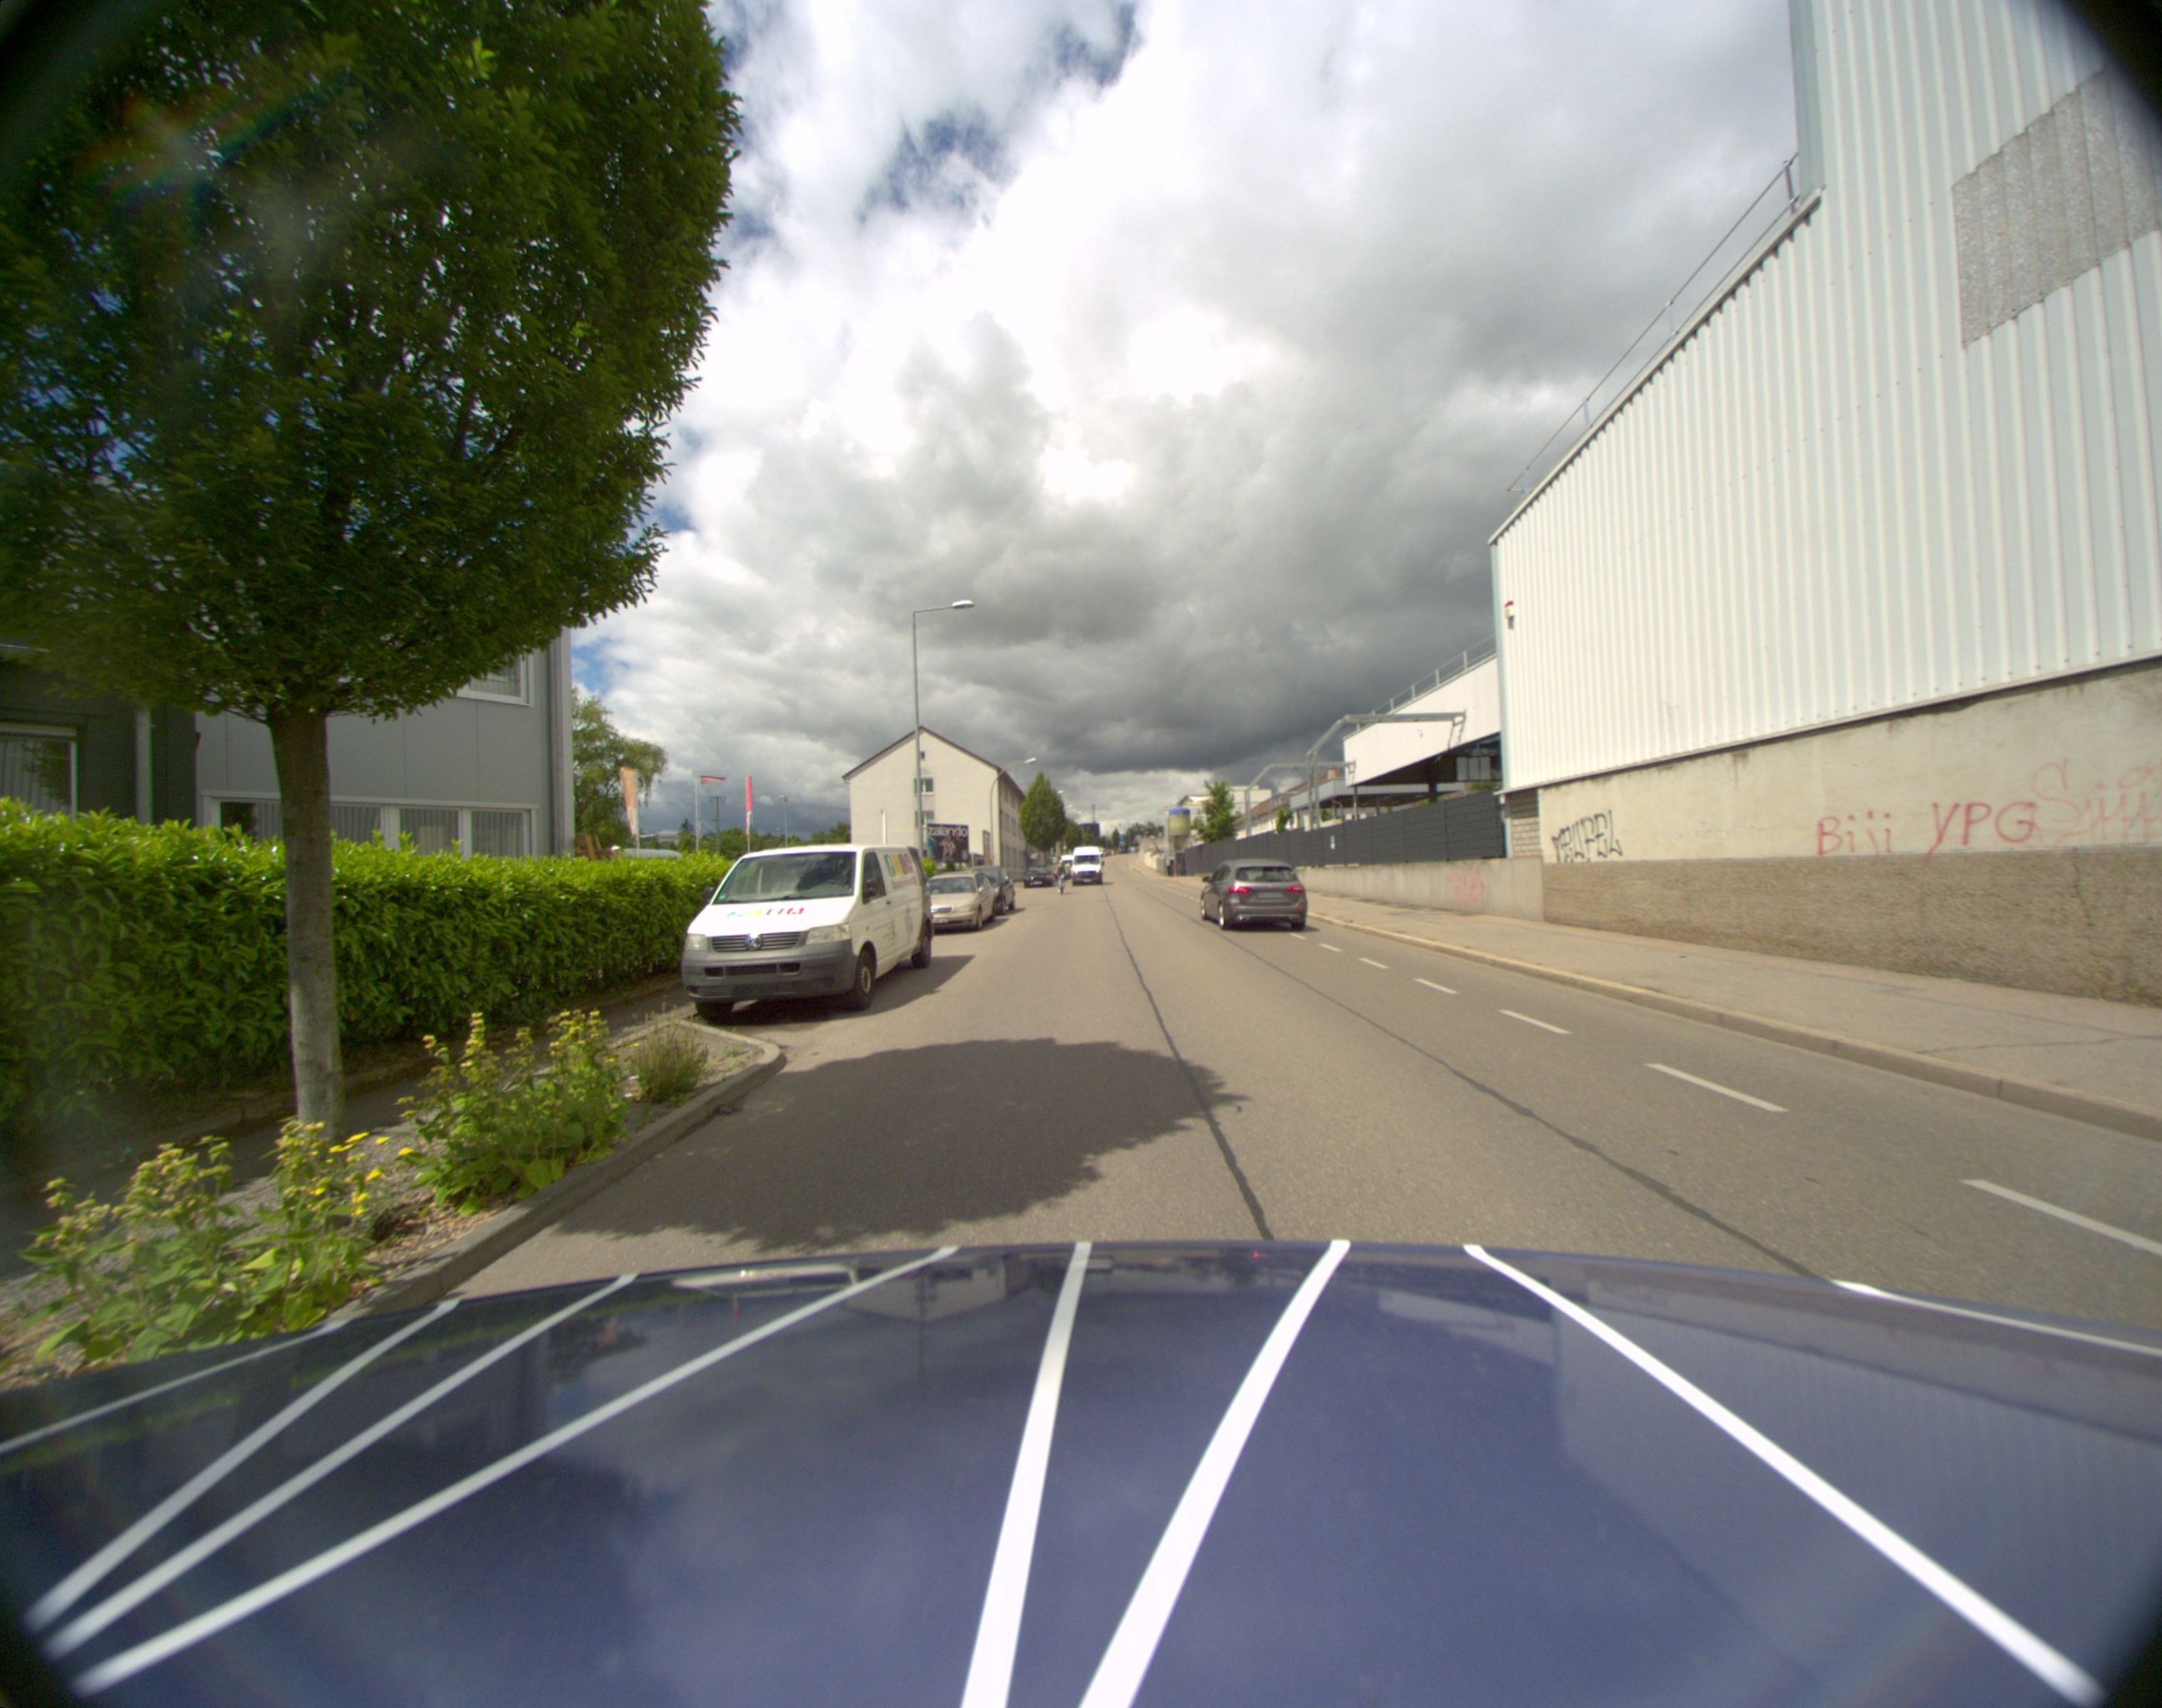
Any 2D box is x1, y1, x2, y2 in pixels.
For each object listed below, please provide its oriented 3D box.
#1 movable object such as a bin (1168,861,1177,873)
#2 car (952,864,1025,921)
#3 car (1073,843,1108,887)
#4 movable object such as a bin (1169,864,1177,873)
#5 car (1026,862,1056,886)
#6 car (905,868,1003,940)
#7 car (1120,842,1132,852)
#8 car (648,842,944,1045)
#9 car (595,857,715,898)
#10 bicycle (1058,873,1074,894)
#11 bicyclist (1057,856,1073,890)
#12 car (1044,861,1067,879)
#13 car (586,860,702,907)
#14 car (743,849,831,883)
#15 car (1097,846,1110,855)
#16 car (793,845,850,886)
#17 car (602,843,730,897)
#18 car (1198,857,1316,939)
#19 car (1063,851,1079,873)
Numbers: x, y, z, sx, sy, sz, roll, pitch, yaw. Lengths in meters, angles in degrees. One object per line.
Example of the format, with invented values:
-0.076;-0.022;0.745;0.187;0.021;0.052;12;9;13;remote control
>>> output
10.926;1.549;90.453;0.993;1.384;1.216;1;-1;3;movable object such as a bin
-3.012;1.208;25.462;1.683;1.628;4.123;-2;0;3;car
0.722;0.657;50.886;2.082;2.576;6.062;-2;2;3;car
10.847;1.712;89.479;0.874;1.044;0.741;0;0;5;movable object such as a bin
-2.668;1.303;51.635;1.796;1.457;4.708;-2;0;0;car
-3.197;1.201;19.994;1.659;1.531;4.734;-2;0;1;car
12.481;-1.840;211.605;2.057;2.579;5.740;-1;2;16;car
-3.320;0.895;10.179;1.874;1.978;5.144;-2;0;1;car
-22.141;1.168;39.666;1.829;1.970;5.109;0;0;44;car
-0.764;1.447;38.053;0.742;0.969;1.732;-2;0;-1;bicycle
-0.780;0.949;38.133;0.741;1.617;0.731;-2;2;-1;bicyclist
-2.247;1.399;67.699;1.739;1.463;4.262;-2;-1;2;car
-19.286;1.236;33.642;1.812;1.860;4.050;0;0;40;car
-23.819;0.923;61.832;6.180;2.438;2.273;-2;2;-3;car
5.426;-0.840;182.855;1.978;1.992;5.551;-2;1;13;car
-19.188;0.752;56.512;2.282;2.752;5.454;-2;2;0;car
-23.366;0.824;42.980;2.060;2.827;5.988;0;0;44;car
3.913;0.899;17.610;1.723;1.547;4.287;1;1;1;car
-1.280;1.065;102.558;2.038;2.626;7.280;-2;2;0;car
